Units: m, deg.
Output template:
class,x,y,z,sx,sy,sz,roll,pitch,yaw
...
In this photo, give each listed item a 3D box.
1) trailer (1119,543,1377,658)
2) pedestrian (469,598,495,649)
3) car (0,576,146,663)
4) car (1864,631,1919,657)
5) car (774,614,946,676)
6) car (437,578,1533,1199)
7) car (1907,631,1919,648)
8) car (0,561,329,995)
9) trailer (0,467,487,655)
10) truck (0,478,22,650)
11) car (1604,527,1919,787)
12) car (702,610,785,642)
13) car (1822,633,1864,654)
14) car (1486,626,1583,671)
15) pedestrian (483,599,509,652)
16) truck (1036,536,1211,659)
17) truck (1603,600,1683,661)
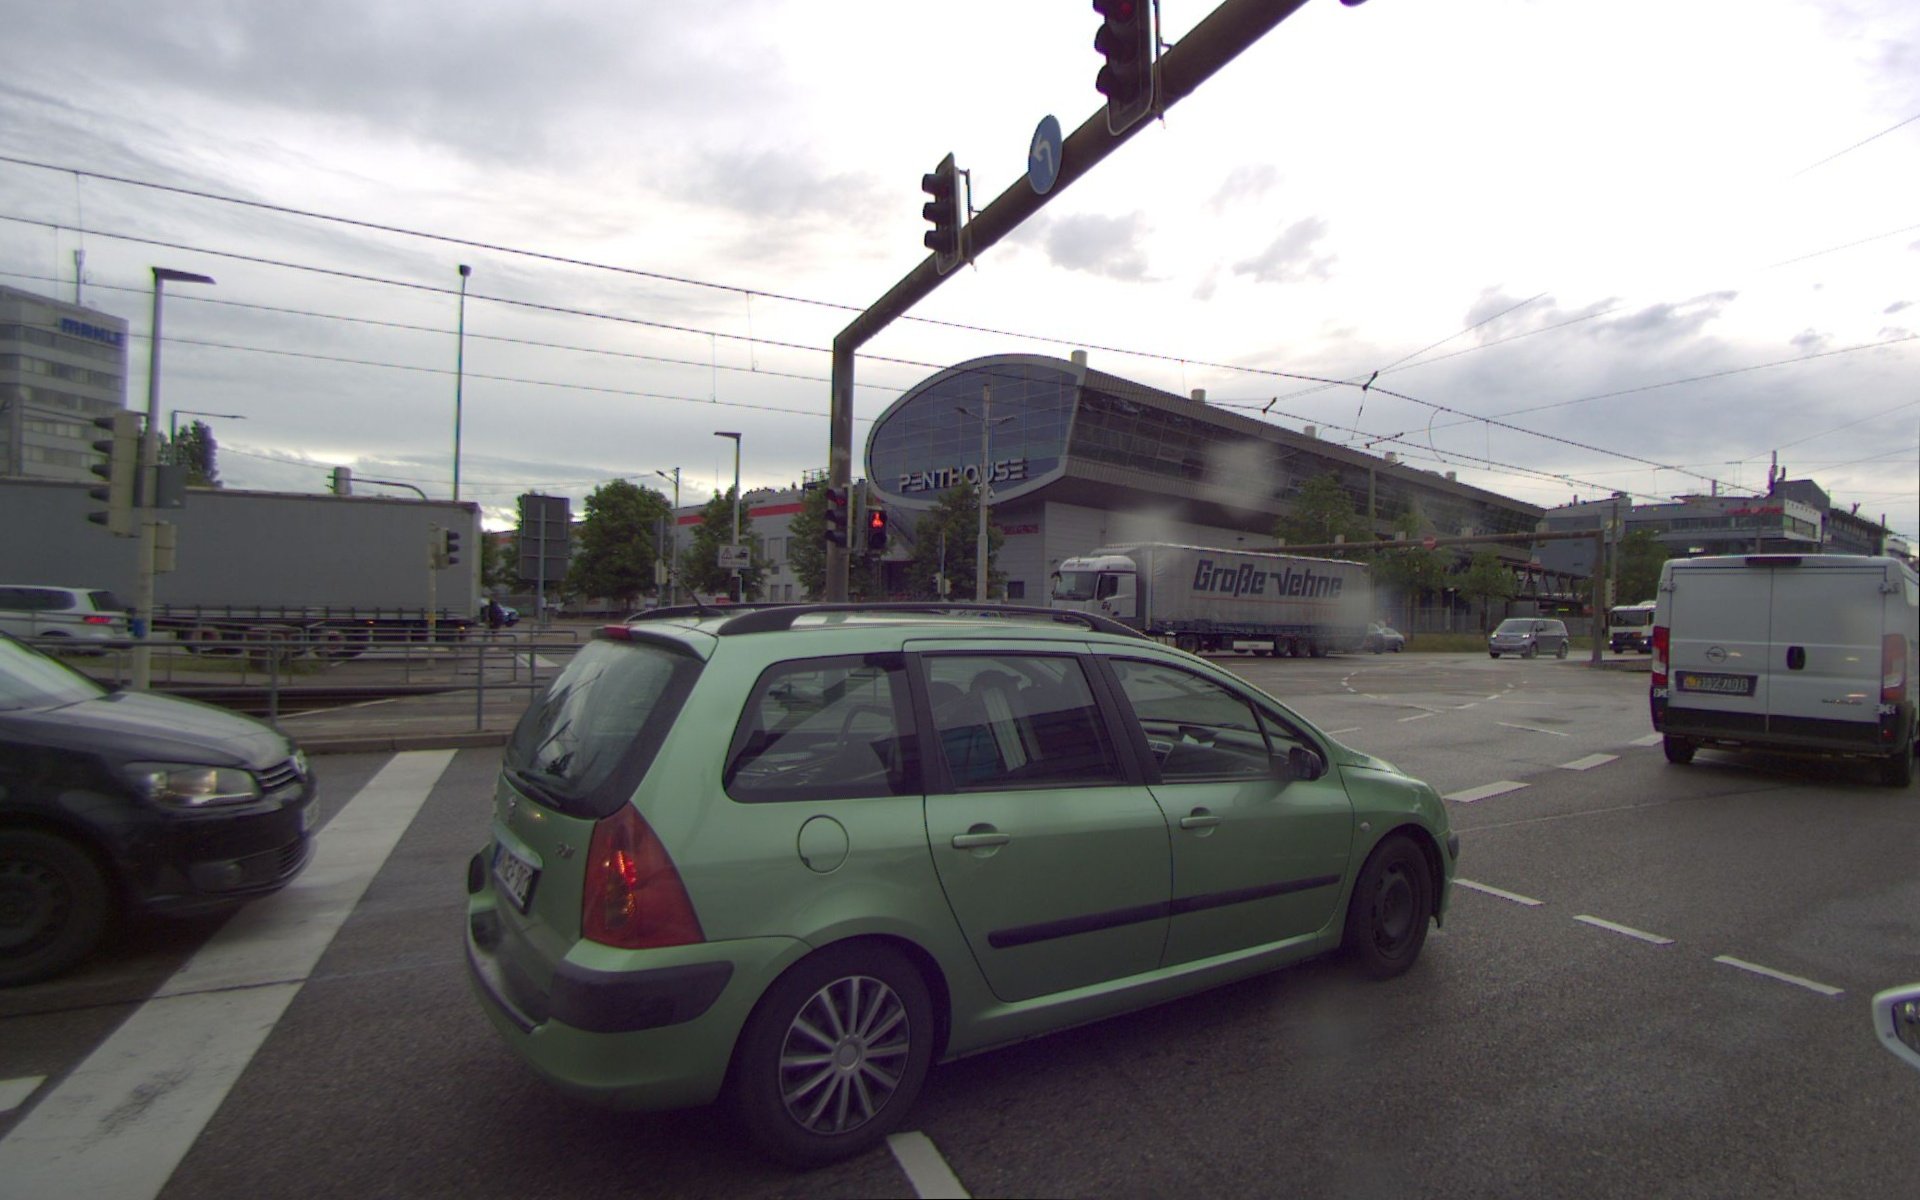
class,x,y,z,sx,sy,sz,roll,pitch,yaw
trailer,12.088,0.230,41.063,12.613,4.179,2.634,2,-1,-34
pedestrian,-16.294,0.806,34.247,0.729,1.685,0.723,2,1,-25
car,-19.903,0.367,21.008,4.038,1.674,1.882,2,1,-24
car,79.797,3.753,85.184,4.218,1.911,2.165,3,1,-1
car,-2.862,1.289,28.885,4.507,1.576,1.896,2,1,-27
car,0.390,0.767,4.169,4.359,1.488,1.684,2,1,-35
car,98.052,4.010,102.103,4.908,1.642,1.788,2,-1,-36
car,-5.110,0.618,4.017,4.135,1.613,1.722,2,1,-25
trailer,-18.175,-0.794,25.106,11.279,4.162,2.788,1,-1,-23
truck,-25.187,-0.910,22.128,5.900,4.049,2.826,1,0,-23
car,9.511,0.599,11.556,4.869,2.324,2.423,2,-2,-43
car,-10.116,1.200,46.829,1.987,1.420,3.947,2,-1,-45
car,79.289,3.944,90.208,4.269,1.525,2.139,3,6,-42
car,27.410,2.283,47.873,4.855,1.862,1.982,0,2,-33
pedestrian,-15.438,0.842,33.413,0.729,1.728,0.723,2,1,-25
truck,6.092,0.005,37.089,6.119,4.184,2.651,2,-1,-33
truck,44.528,2.027,65.452,5.361,3.855,2.726,2,-2,-37
